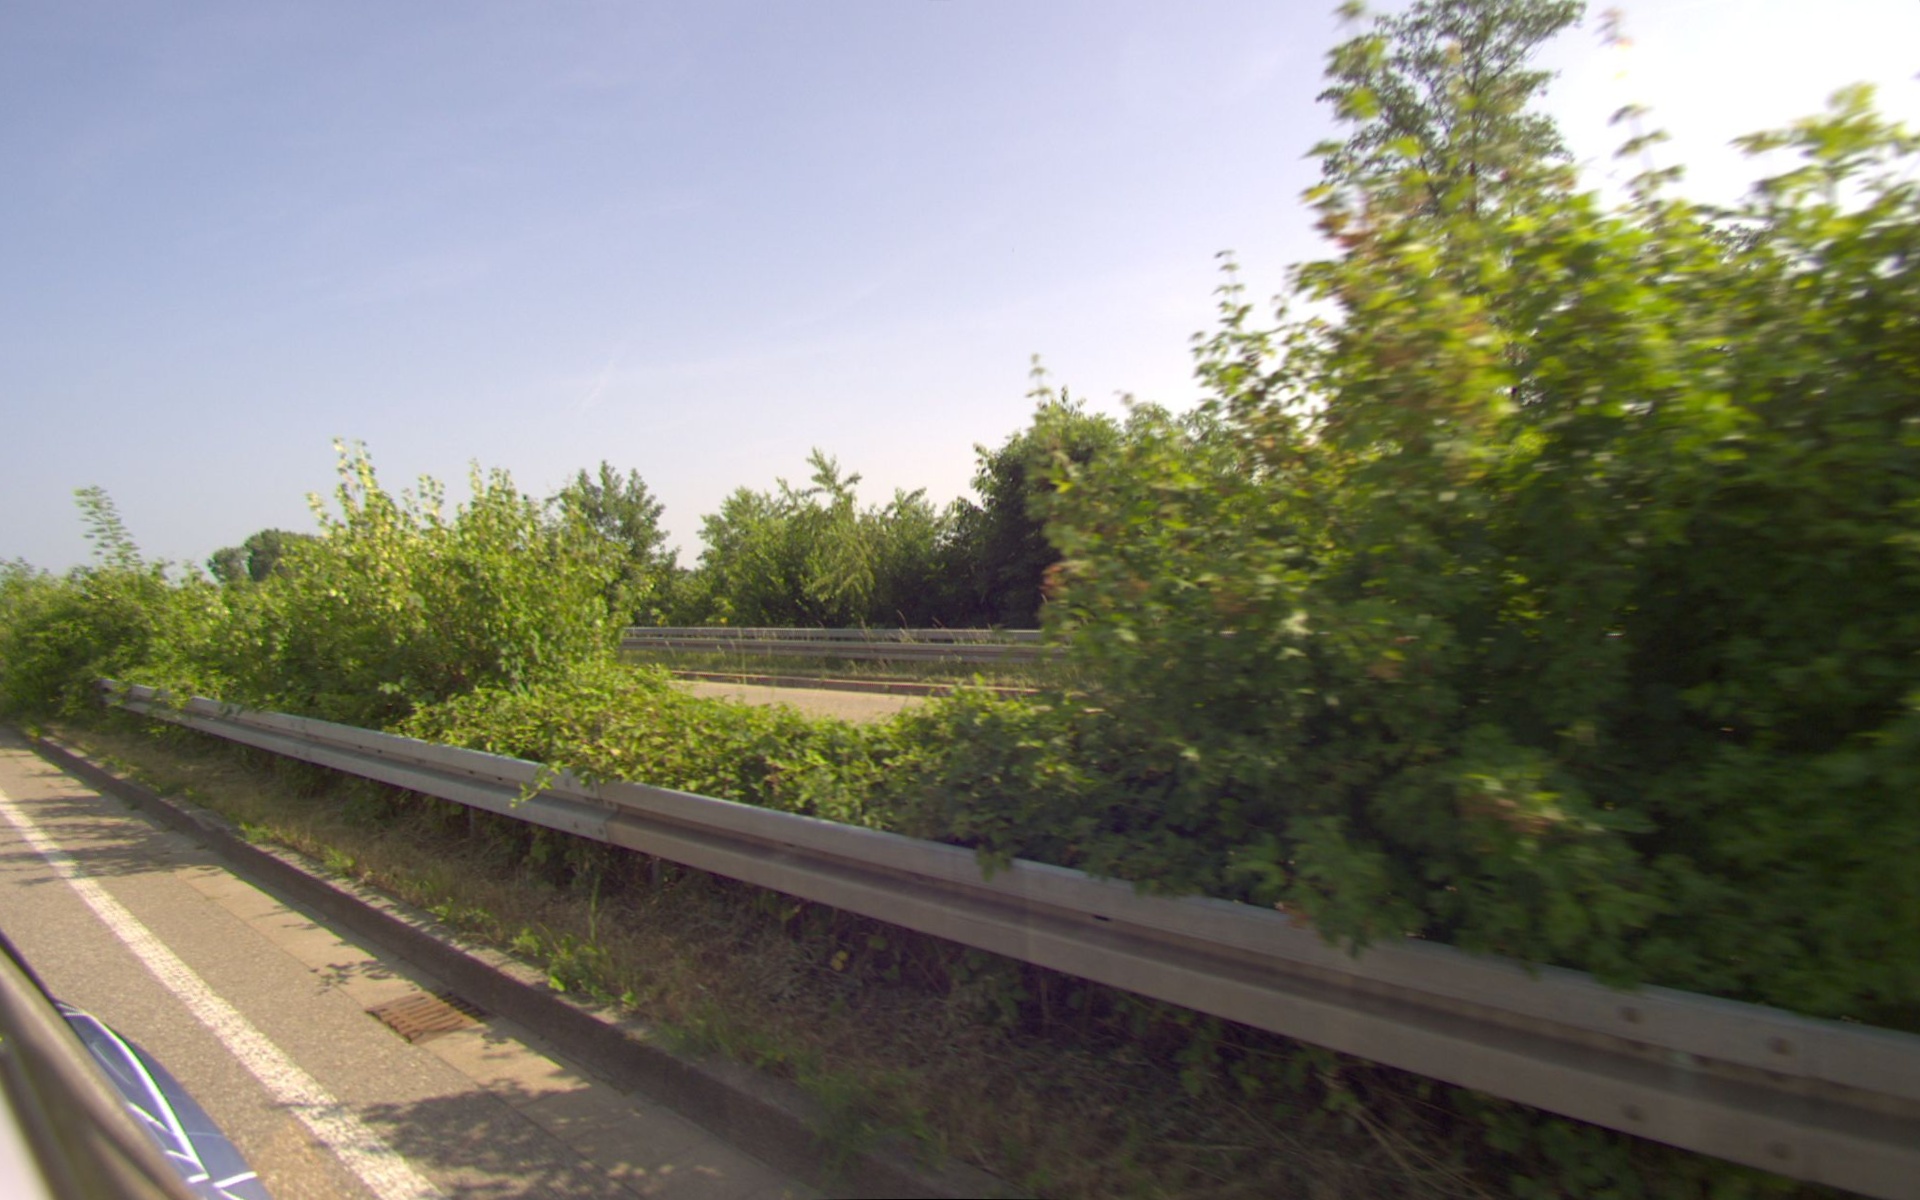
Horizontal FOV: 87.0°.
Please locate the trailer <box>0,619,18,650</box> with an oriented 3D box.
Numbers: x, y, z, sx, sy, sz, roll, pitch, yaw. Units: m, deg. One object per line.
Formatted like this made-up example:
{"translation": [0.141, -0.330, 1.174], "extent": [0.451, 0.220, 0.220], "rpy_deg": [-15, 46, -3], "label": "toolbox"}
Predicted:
{"translation": [-125.177, 4.506, 131.135], "extent": [2.718, 4.022, 8.211], "rpy_deg": [-1, -1, -29], "label": "trailer"}
